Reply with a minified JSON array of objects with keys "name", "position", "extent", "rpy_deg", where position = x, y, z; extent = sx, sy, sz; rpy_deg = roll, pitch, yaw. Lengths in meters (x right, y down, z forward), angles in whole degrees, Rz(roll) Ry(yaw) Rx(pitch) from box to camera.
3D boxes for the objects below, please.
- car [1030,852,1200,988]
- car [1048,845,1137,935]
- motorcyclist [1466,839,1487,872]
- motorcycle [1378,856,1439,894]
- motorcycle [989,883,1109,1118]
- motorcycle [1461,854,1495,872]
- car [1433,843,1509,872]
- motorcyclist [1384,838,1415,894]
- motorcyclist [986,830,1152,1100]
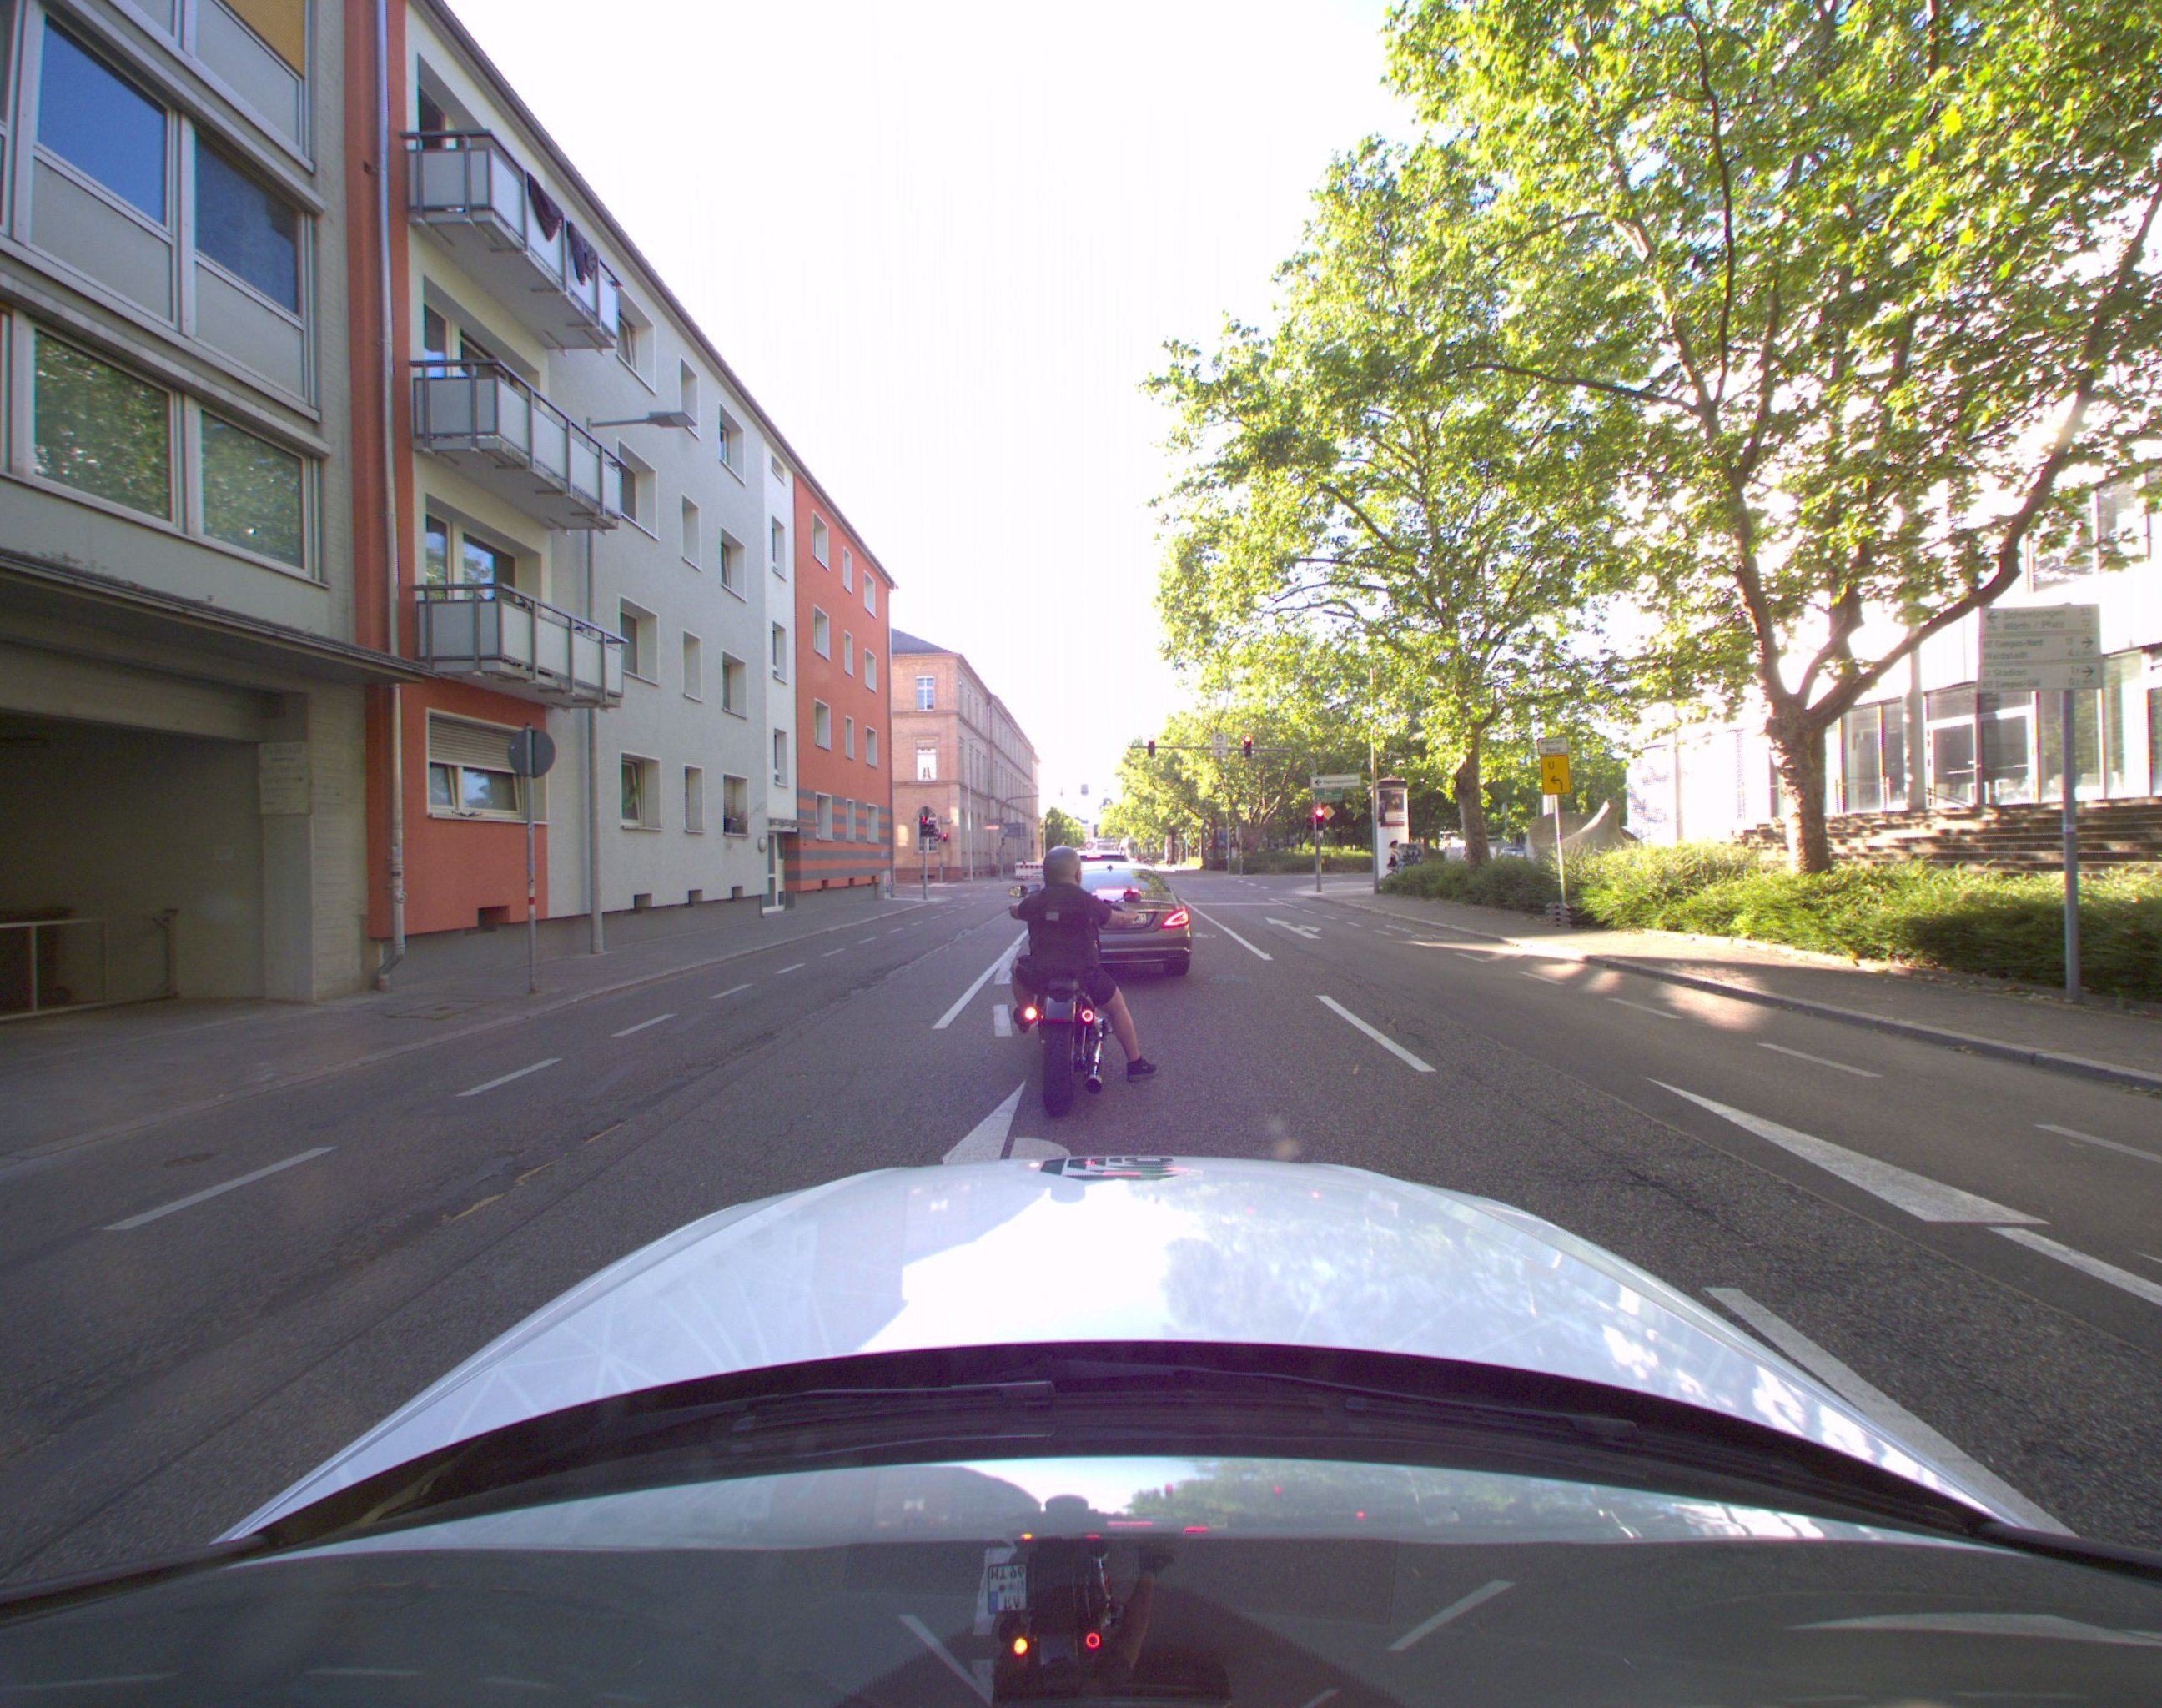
[{"name":"car","position":[0.256,0.744,11.244],"extent":[1.821,1.486,4.325],"rpy_deg":[0,0,-5]},{"name":"car","position":[0.281,0.688,17.095],"extent":[1.645,1.652,4.002],"rpy_deg":[0,-1,2]},{"name":"motorcyclist","position":[23.003,0.081,47.324],"extent":[0.978,1.876,0.377],"rpy_deg":[-1,-1,6]},{"name":"motorcycle","position":[11.066,0.713,27.544],"extent":[1.771,1.243,0.724],"rpy_deg":[0,-1,7]},{"name":"motorcycle","position":[-0.147,0.847,5.541],"extent":[0.657,1.240,2.058],"rpy_deg":[0,-1,2]},{"name":"motorcycle","position":[23.075,0.519,47.328],"extent":[1.710,1.002,0.416],"rpy_deg":[-1,0,6]},{"name":"car","position":[24.625,0.210,51.523],"extent":[3.974,1.772,1.738],"rpy_deg":[-1,0,-1]},{"name":"motorcyclist","position":[10.763,0.394,27.568],"extent":[0.818,1.863,0.673],"rpy_deg":[0,-1,7]},{"name":"motorcyclist","position":[-0.058,0.670,5.448],"extent":[0.986,1.611,1.121],"rpy_deg":[0,-1,1]}]
